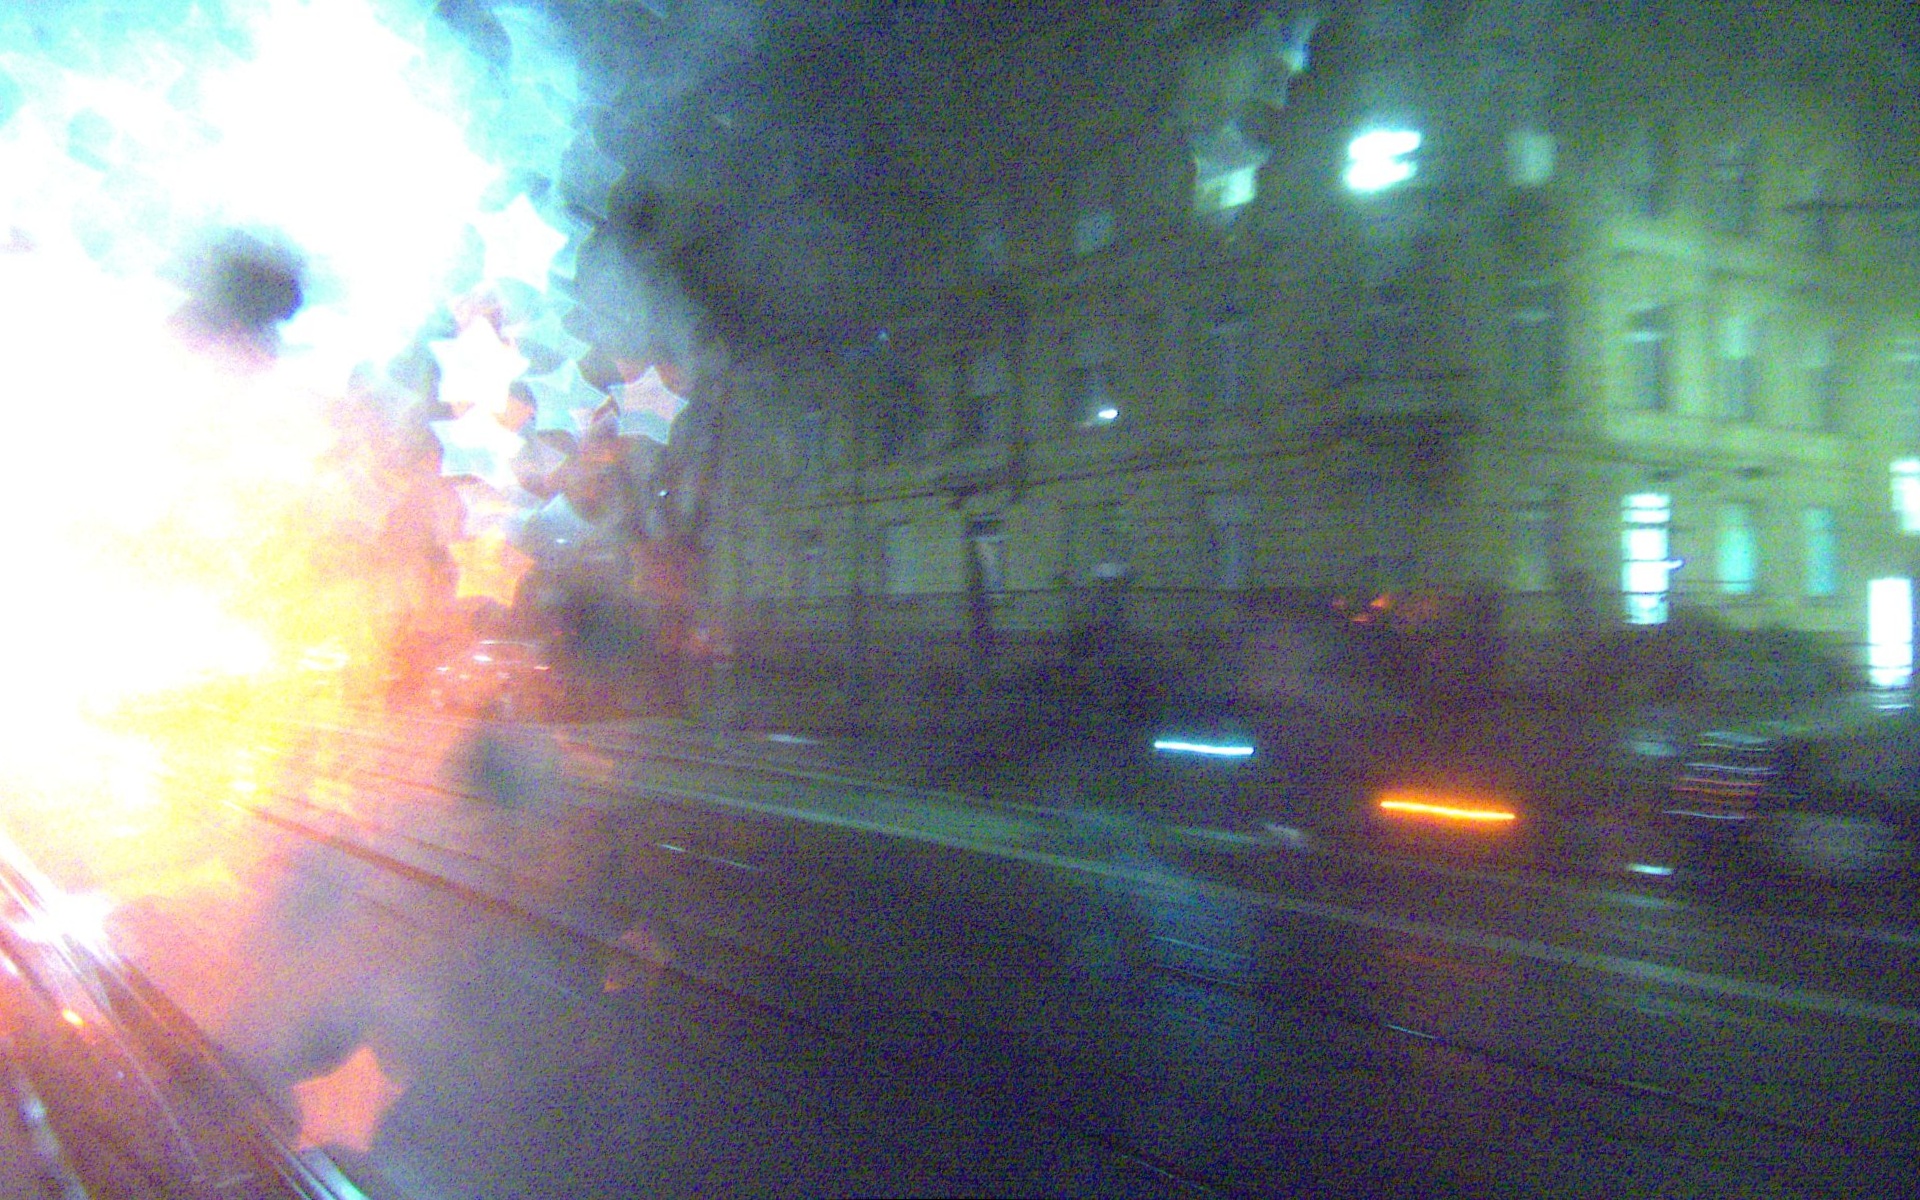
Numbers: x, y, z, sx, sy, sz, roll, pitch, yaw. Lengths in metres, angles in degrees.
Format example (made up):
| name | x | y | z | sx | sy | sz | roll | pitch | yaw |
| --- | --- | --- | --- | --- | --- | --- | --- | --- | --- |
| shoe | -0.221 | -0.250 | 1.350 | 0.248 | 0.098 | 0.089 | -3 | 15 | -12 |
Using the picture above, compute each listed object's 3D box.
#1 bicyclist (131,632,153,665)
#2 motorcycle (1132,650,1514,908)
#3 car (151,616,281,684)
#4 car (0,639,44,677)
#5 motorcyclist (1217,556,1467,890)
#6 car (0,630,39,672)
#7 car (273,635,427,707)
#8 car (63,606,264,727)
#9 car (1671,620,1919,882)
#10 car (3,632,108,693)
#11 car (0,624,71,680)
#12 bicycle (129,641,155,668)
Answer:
| name | x | y | z | sx | sy | sz | roll | pitch | yaw |
| --- | --- | --- | --- | --- | --- | --- | --- | --- | --- |
| bicyclist | -37.887 | 2.232 | 46.869 | 0.868 | 1.476 | 0.647 | 0 | 1 | 43 |
| motorcycle | 2.145 | 0.977 | 6.123 | 1.999 | 1.240 | 0.809 | 0 | -5 | 39 |
| car | -23.060 | 1.531 | 31.281 | 5.304 | 1.839 | 1.974 | -3 | 1 | 40 |
| car | -39.388 | 2.382 | 42.040 | 1.772 | 1.475 | 3.903 | 1 | -2 | -45 |
| motorcyclist | 2.288 | 0.679 | 6.043 | 1.135 | 1.753 | 0.909 | 0 | -5 | 39 |
| car | -44.108 | 2.323 | 46.799 | 4.537 | 1.883 | 1.874 | -1 | -3 | 44 |
| car | -14.304 | 1.592 | 23.662 | 4.136 | 1.417 | 1.749 | -1 | 1 | 39 |
| car | -13.841 | 1.112 | 17.500 | 4.383 | 1.830 | 1.918 | -2 | -4 | 41 |
| car | 6.587 | 0.864 | 5.767 | 3.999 | 1.397 | 1.651 | 0 | 1 | 41 |
| car | -24.047 | 1.620 | 26.868 | 4.205 | 1.490 | 1.633 | -2 | -4 | 43 |
| car | -33.606 | 1.885 | 36.608 | 1.903 | 1.894 | 4.640 | 3 | -4 | -44 |
| bicycle | -37.956 | 2.502 | 46.942 | 1.898 | 1.150 | 0.647 | 0 | 1 | 44 |
